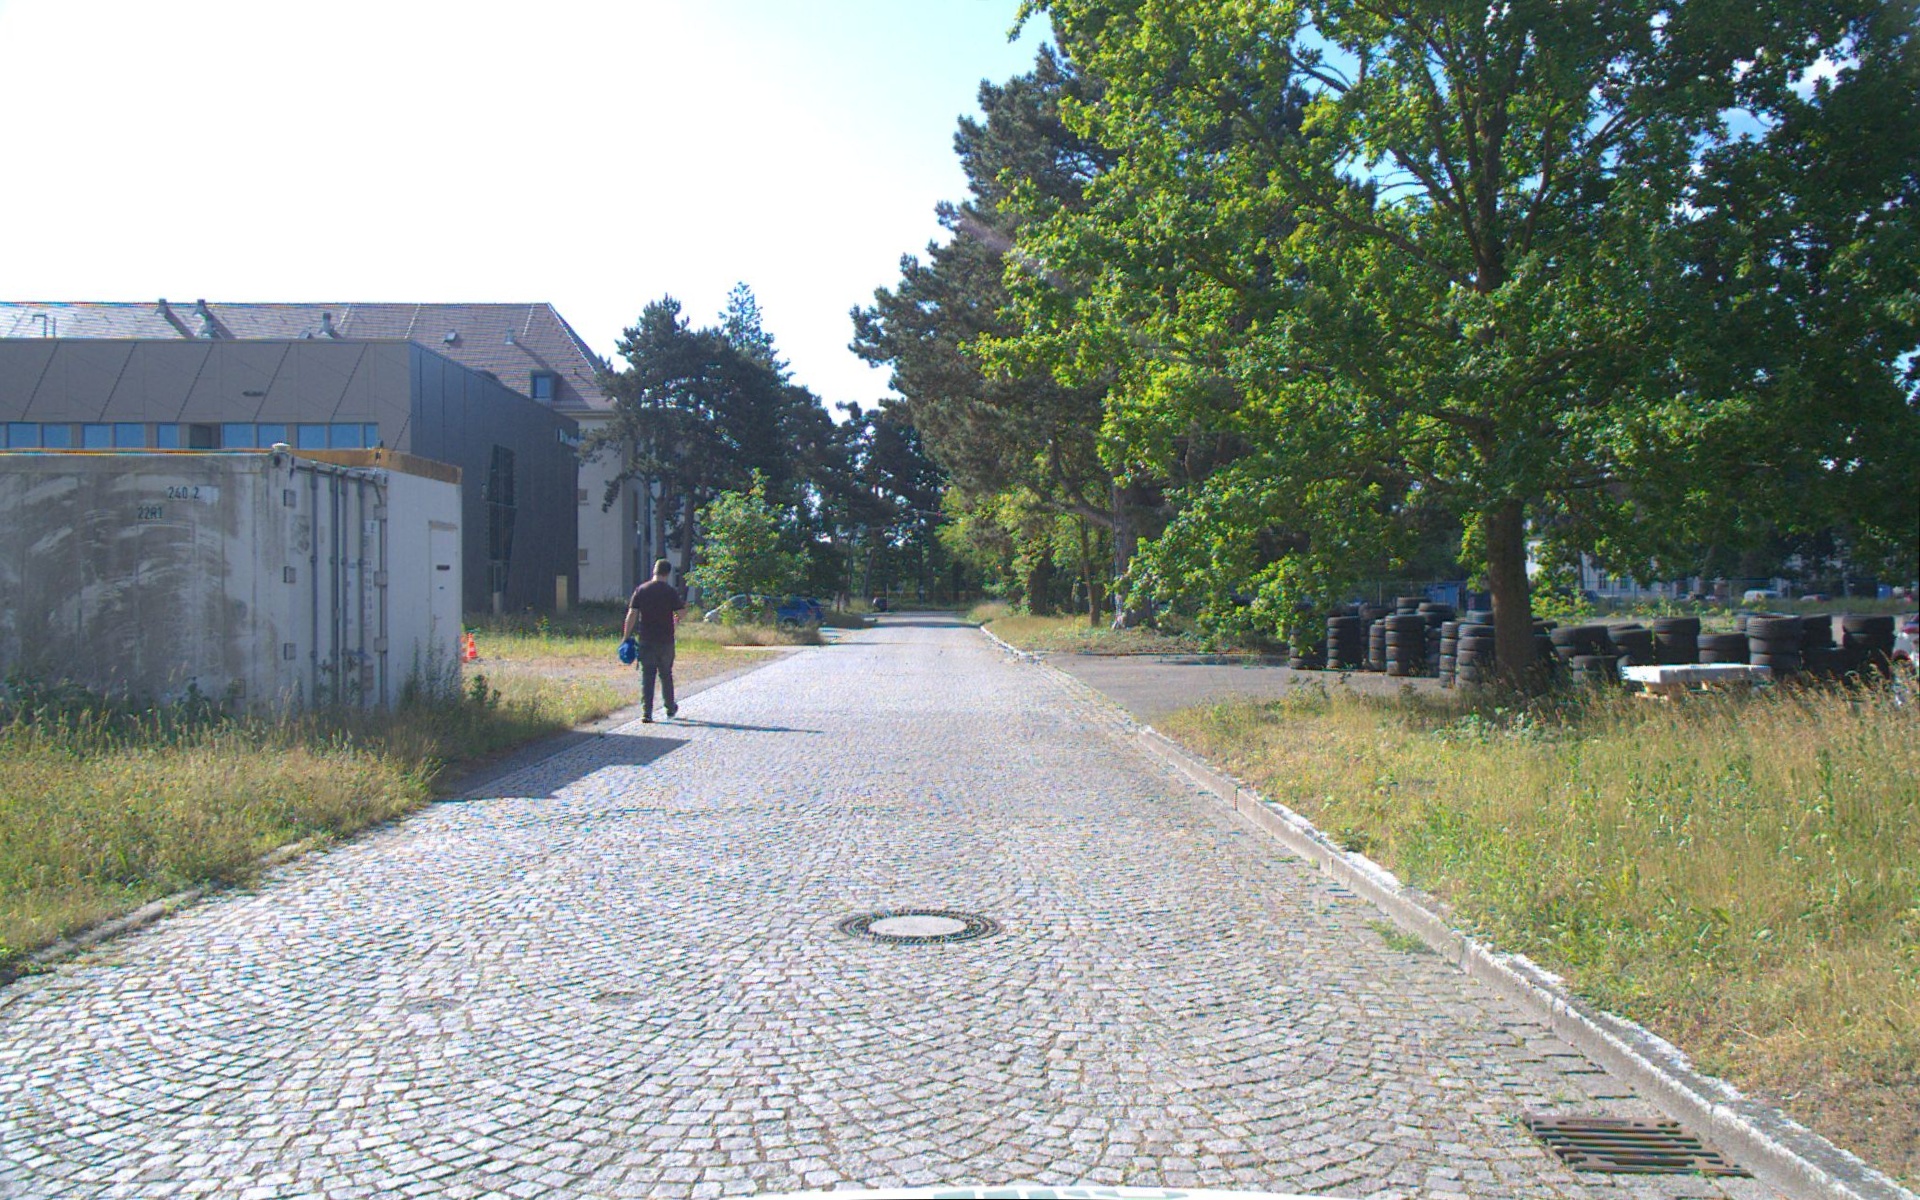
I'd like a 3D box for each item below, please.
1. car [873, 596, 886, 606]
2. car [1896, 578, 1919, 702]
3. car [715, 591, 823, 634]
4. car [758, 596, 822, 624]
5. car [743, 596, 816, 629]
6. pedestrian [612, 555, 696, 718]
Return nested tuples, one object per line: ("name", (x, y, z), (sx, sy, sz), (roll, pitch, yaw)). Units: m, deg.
("car", (-8.847, 0.079, 181.678), (1.342, 1.118, 2.861), (0, 0, -4))
("car", (11.737, 0.460, 17.818), (1.508, 1.431, 3.579), (0, 0, 5))
("car", (-6.807, 0.434, 59.287), (3.757, 1.466, 1.582), (0, 0, -4))
("car", (-7.794, 0.459, 75.697), (2.802, 1.227, 1.371), (-1, 0, -10))
("car", (-7.262, 0.479, 66.380), (2.849, 1.281, 1.285), (-1, 0, -10))
("pedestrian", (-3.514, 0.407, 19.068), (0.779, 1.812, 1.068), (1, 0, -3))
